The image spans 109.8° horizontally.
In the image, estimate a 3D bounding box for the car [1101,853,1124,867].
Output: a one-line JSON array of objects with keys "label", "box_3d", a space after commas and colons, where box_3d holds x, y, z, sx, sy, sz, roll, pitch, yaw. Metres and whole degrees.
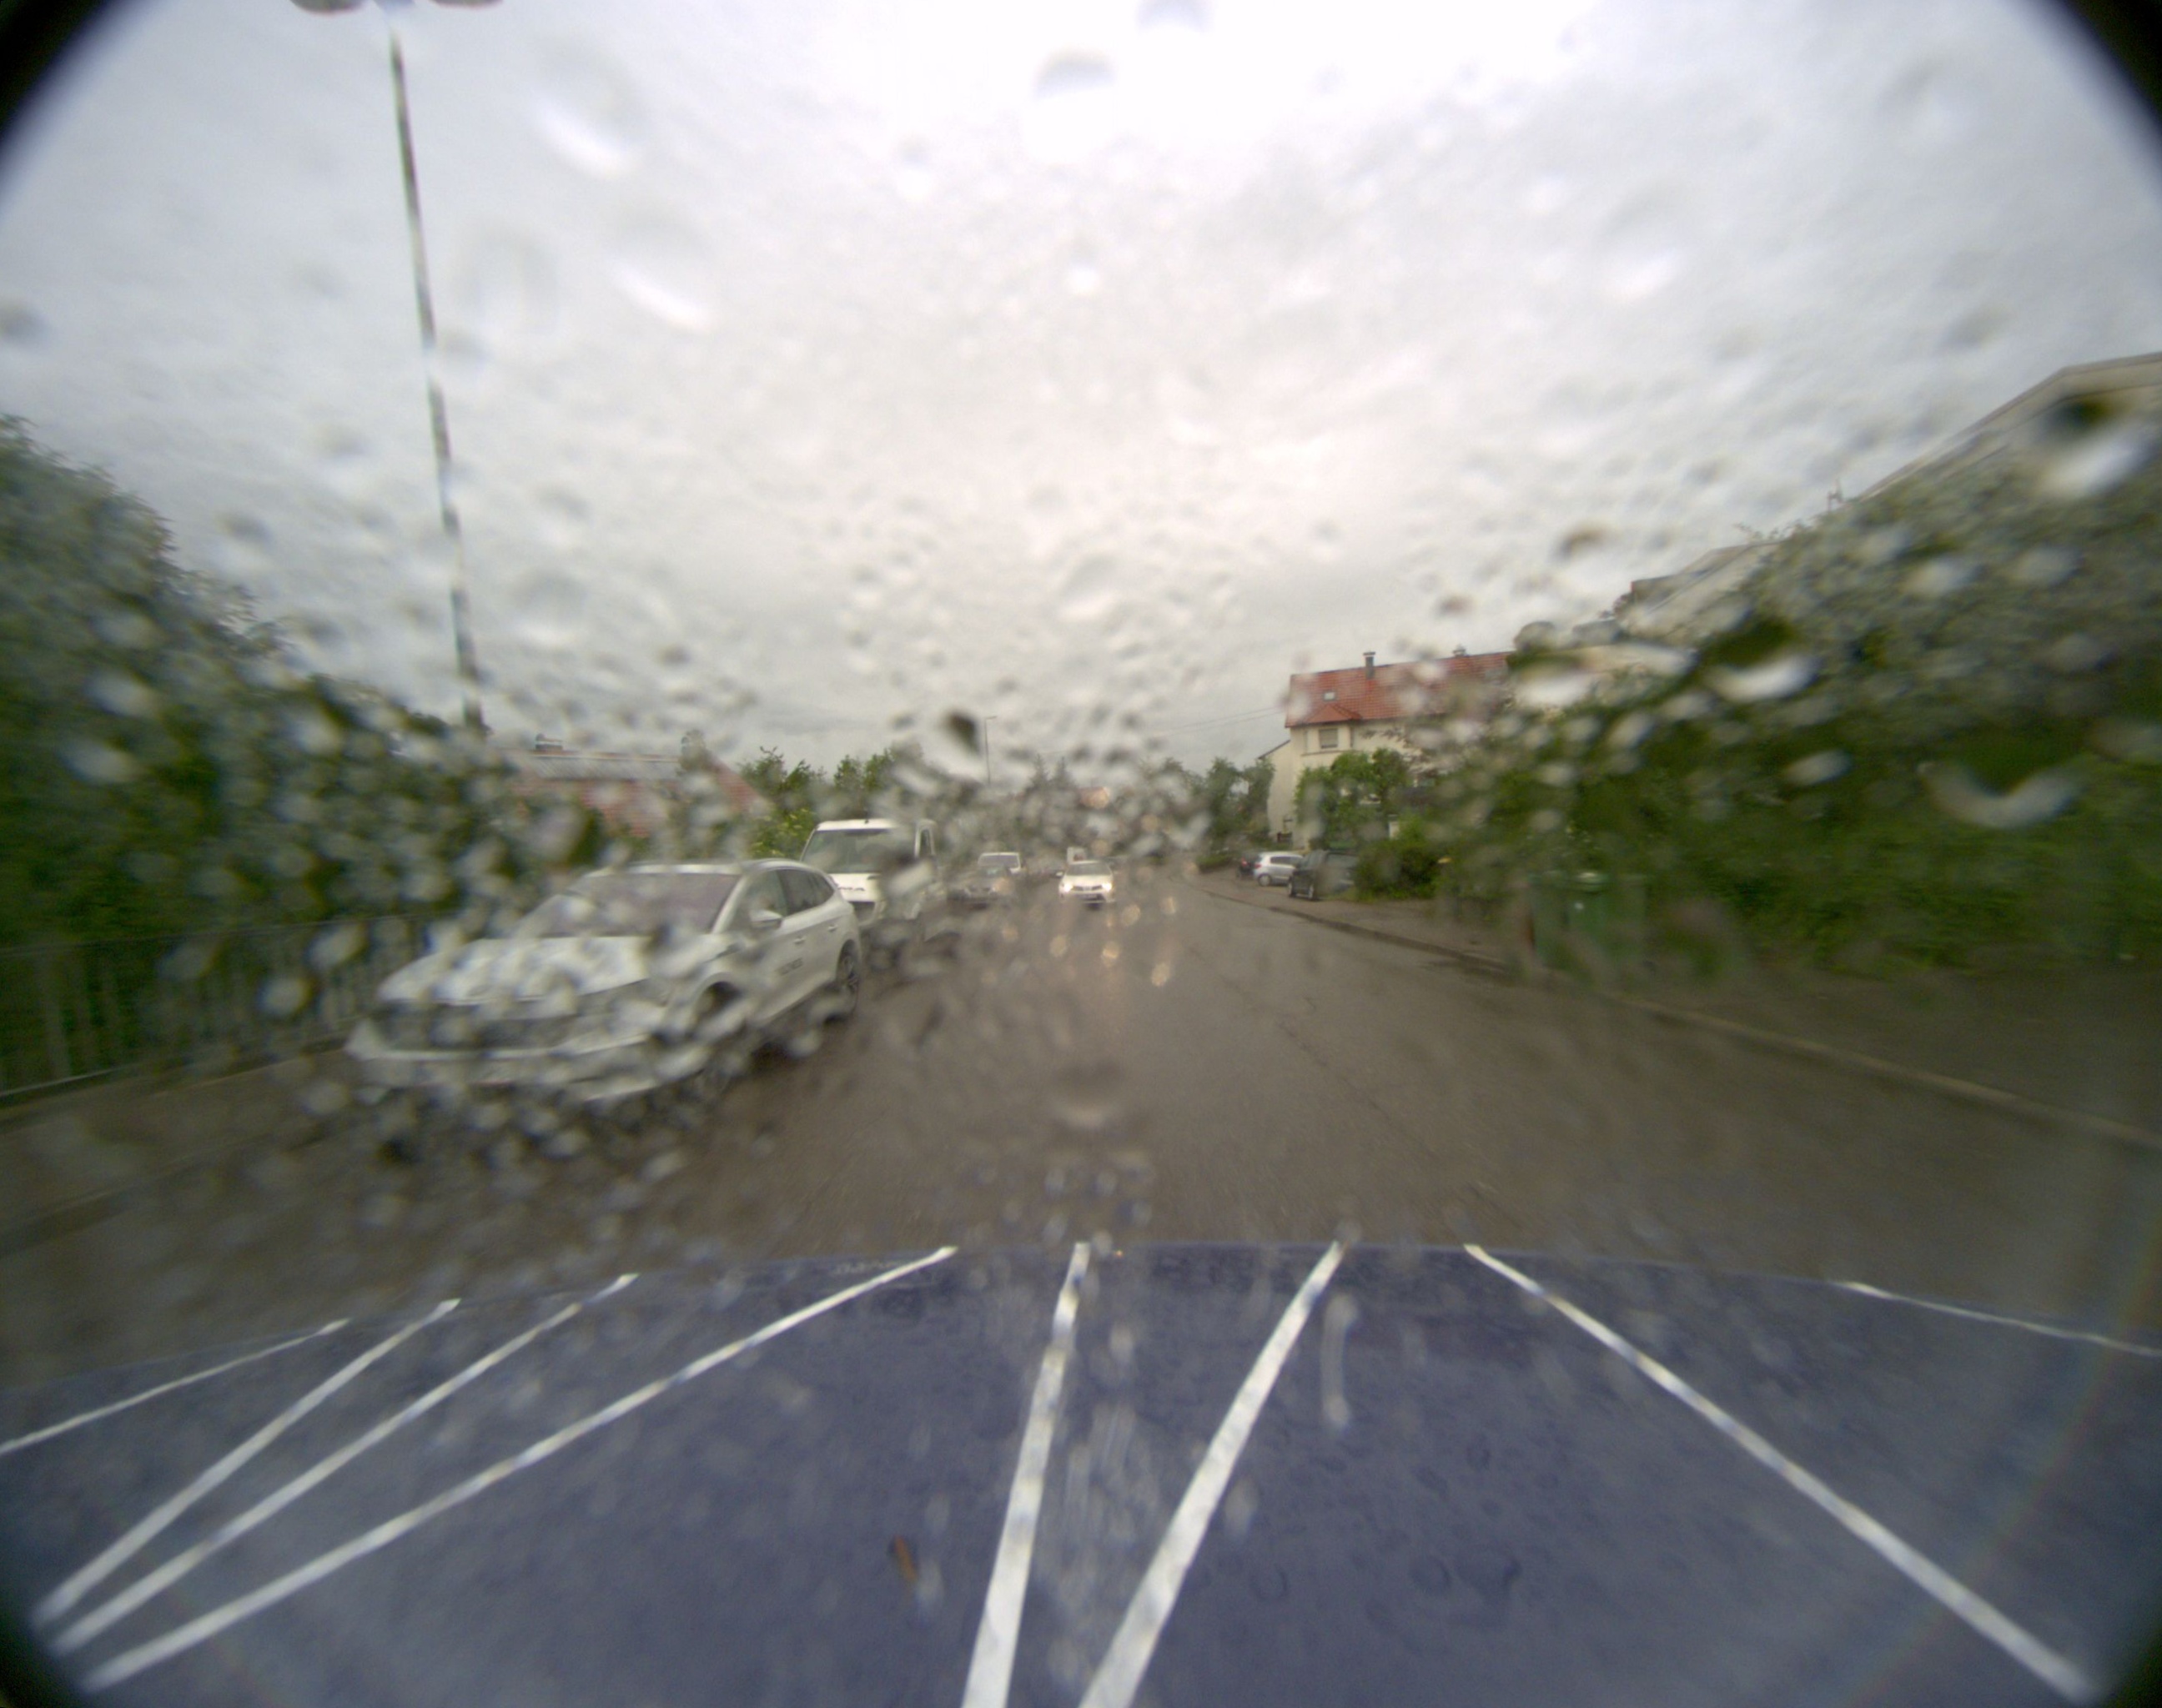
[{"label": "car", "box_3d": [3.613, 0.622, 85.758, 1.635, 1.448, 3.705, -1, 1, 17]}]

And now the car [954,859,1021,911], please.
[{"label": "car", "box_3d": [-3.113, 0.990, 26.055, 1.652, 1.554, 3.963, -1, 1, 2]}]

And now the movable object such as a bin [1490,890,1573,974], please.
[{"label": "movable object such as a bin", "box_3d": [5.396, 0.920, 9.129, 0.604, 0.923, 0.564, -3, 0, -4]}]

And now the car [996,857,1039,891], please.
[{"label": "car", "box_3d": [-3.136, 0.960, 38.172, 1.648, 1.532, 4.353, -1, 1, 2]}]

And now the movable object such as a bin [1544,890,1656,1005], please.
[{"label": "movable object such as a bin", "box_3d": [5.274, 0.926, 7.759, 0.604, 1.057, 0.698, -3, 0, -4]}]

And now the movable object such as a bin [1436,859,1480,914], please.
[{"label": "movable object such as a bin", "box_3d": [7.608, 0.648, 15.344, 0.698, 1.076, 0.710, -1, 1, 20]}]

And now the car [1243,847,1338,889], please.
[{"label": "car", "box_3d": [9.187, 0.590, 33.385, 3.831, 1.469, 1.805, 4, 2, 15]}]

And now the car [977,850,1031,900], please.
[{"label": "car", "box_3d": [-3.129, 0.810, 31.824, 1.854, 1.871, 4.909, -1, 1, -2]}]

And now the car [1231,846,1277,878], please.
[{"label": "car", "box_3d": [8.663, 0.361, 38.288, 1.769, 1.368, 4.249, -5, 0, 8]}]

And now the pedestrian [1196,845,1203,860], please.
[{"label": "pedestrian", "box_3d": [13.671, -0.186, 87.885, 0.657, 1.639, 0.733, -2, -1, 12]}]

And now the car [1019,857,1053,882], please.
[{"label": "car", "box_3d": [-2.848, 0.960, 48.471, 1.739, 1.406, 3.852, -1, 1, 3]}]

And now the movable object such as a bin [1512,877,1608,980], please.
[{"label": "movable object such as a bin", "box_3d": [5.331, 0.810, 8.491, 0.604, 1.057, 0.638, -3, 0, -4]}]

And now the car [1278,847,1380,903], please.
[{"label": "car", "box_3d": [7.736, 0.587, 24.143, 1.807, 1.588, 4.417, -1, 1, 1]}]

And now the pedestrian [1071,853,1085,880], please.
[{"label": "pedestrian", "box_3d": [-0.176, 0.736, 45.223, 0.718, 1.625, 0.707, -2, 1, 2]}]

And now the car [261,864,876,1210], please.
[{"label": "car", "box_3d": [-3.198, 0.955, 6.153, 1.764, 1.595, 4.666, -1, 1, 0]}]

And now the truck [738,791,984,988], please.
[{"label": "truck", "box_3d": [-3.404, 0.453, 13.563, 2.244, 2.616, 6.538, -1, 1, 2]}]

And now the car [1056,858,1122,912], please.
[{"label": "car", "box_3d": [0.307, 0.923, 24.373, 1.863, 1.370, 4.180, -3, 1, 2]}]

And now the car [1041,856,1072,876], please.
[{"label": "car", "box_3d": [-1.880, 0.889, 59.976, 1.796, 1.451, 4.790, -1, 0, 6]}]

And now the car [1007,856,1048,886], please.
[{"label": "car", "box_3d": [-3.004, 0.943, 43.311, 1.820, 1.498, 4.724, -1, 1, 2]}]

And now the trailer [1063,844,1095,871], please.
[{"label": "trailer", "box_3d": [-0.133, 0.287, 70.886, 1.952, 2.442, 5.438, -1, 1, 10]}]
